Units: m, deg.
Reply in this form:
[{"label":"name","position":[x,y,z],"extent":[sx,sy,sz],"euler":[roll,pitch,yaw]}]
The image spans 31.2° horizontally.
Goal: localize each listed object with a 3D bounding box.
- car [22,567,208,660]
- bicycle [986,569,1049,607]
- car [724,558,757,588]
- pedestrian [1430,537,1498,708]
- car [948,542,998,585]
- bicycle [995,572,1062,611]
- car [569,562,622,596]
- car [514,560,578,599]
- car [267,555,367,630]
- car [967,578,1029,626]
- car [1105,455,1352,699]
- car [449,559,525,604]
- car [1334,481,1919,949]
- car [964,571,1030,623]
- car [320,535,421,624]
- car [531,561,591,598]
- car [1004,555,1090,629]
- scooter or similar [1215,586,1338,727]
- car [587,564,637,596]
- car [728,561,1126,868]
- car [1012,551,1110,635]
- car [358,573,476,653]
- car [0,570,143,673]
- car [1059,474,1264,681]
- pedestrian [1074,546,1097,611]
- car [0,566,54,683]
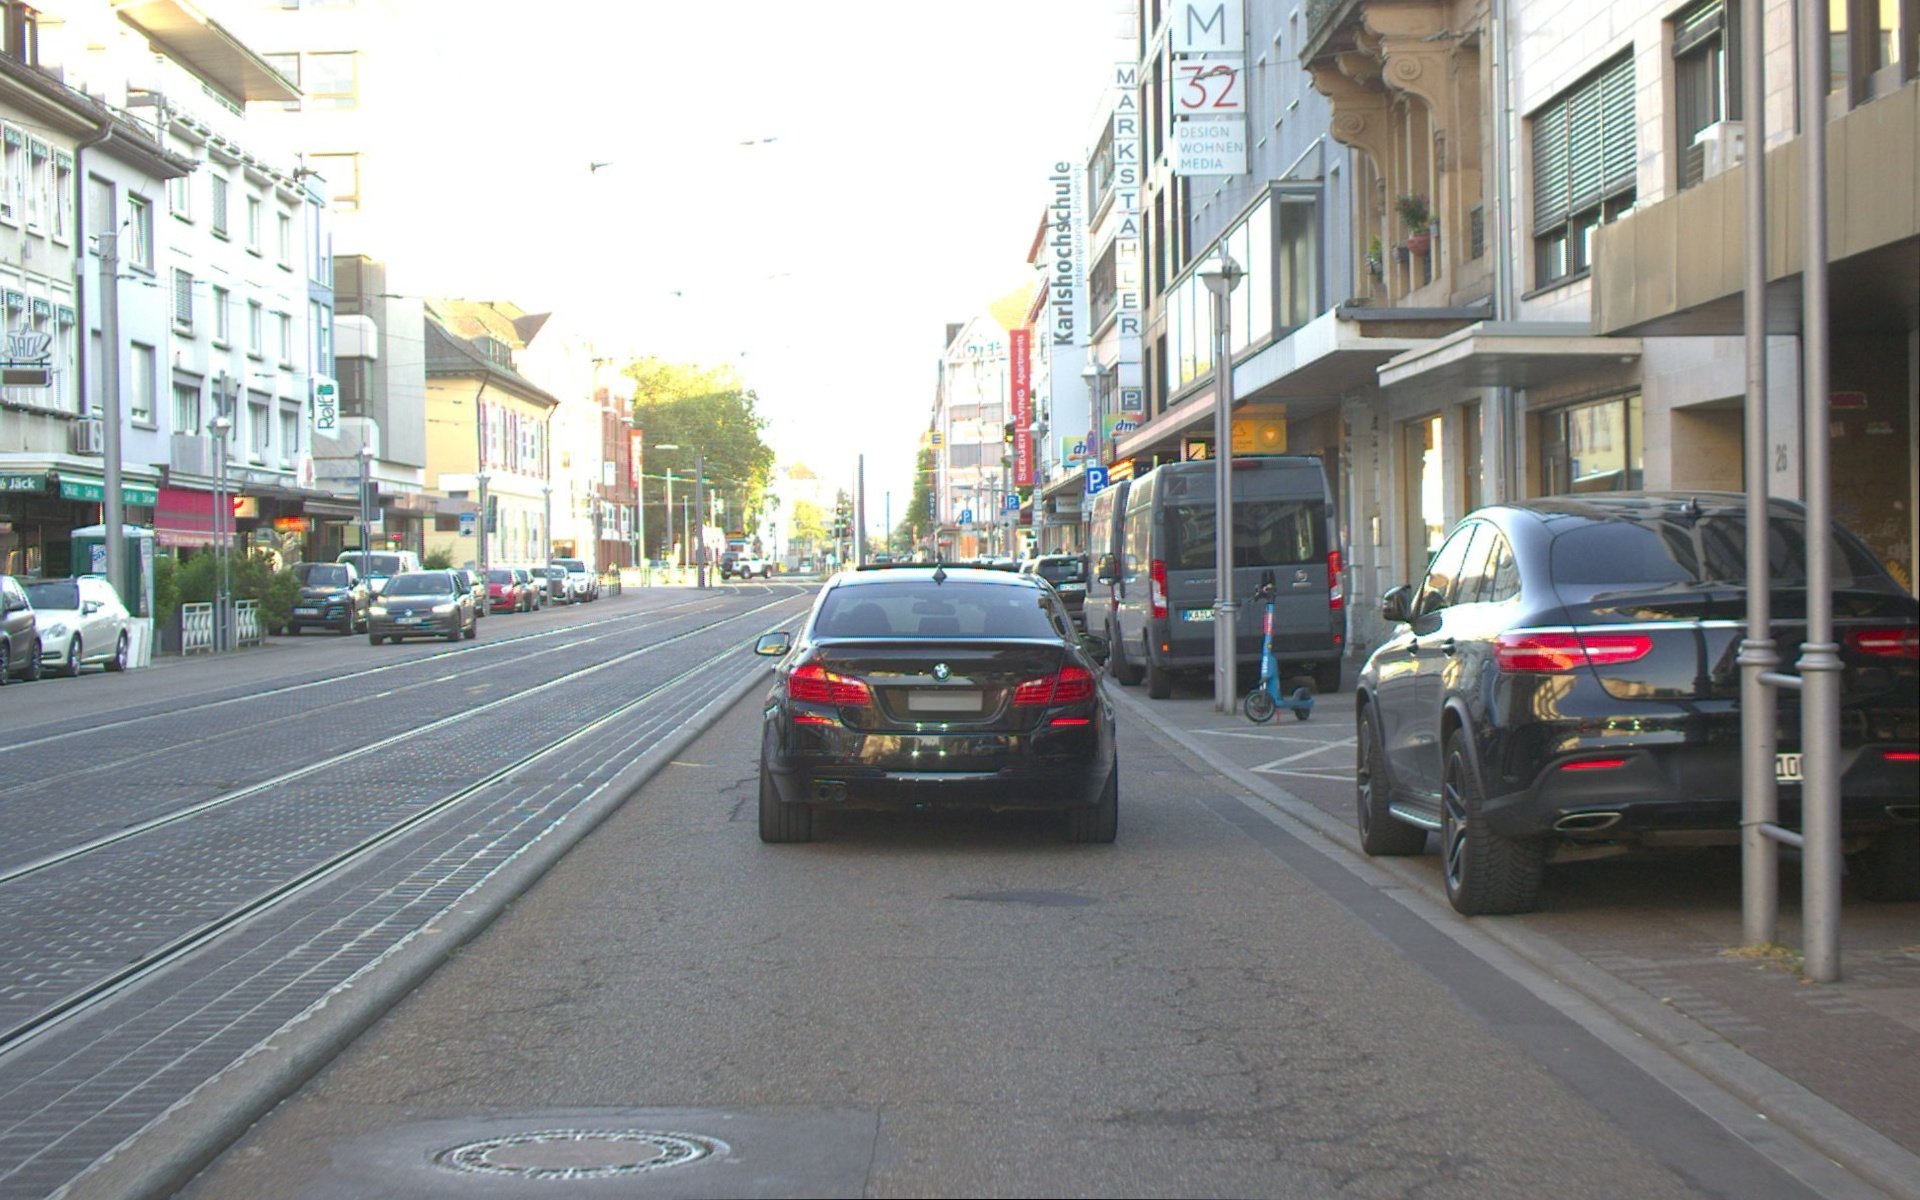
[{"label":"car","position":[-13.932,0.196,56.916],"extent":[1.993,1.448,4.330],"euler":[-1,1,0]},{"label":"bicycle","position":[1.709,-0.344,102.076],"extent":[1.861,1.115,0.468],"euler":[0,-1,0]},{"label":"car","position":[-14.711,-1.803,230.553],"extent":[1.993,1.832,4.000],"euler":[0,-2,-1]},{"label":"pedestrian","position":[4.878,0.212,33.306],"extent":[0.550,1.639,0.533],"euler":[1,0,-1]},{"label":"car","position":[0.475,-1.331,126.818],"extent":[1.774,1.543,3.503],"euler":[0,0,-1]},{"label":"bicycle","position":[1.924,-0.249,96.328],"extent":[1.861,1.076,0.468],"euler":[0,-1,0]},{"label":"car","position":[-15.963,-0.923,150.847],"extent":[1.928,1.430,4.246],"euler":[0,1,-1]},{"label":"car","position":[-15.589,-0.791,129.517],"extent":[1.928,1.430,4.246],"euler":[-1,1,-1]},{"label":"car","position":[-14.647,-0.183,78.472],"extent":[1.865,1.679,4.001],"euler":[0,0,-5]},{"label":"car","position":[1.223,0.088,112.455],"extent":[1.903,1.543,3.780],"euler":[0,0,-1]},{"label":"car","position":[2.893,-0.280,38.431],"extent":[2.092,2.447,6.033],"euler":[-2,1,-1]},{"label":"car","position":[-15.242,-0.606,110.902],"extent":[1.928,1.430,4.246],"euler":[0,1,-1]},{"label":"car","position":[2.947,0.403,15.215],"extent":[1.993,1.721,4.565],"euler":[-1,1,-1]},{"label":"car","position":[1.115,-0.095,105.636],"extent":[1.903,1.543,4.000],"euler":[0,0,-1]},{"label":"car","position":[-14.778,-0.518,86.384],"extent":[1.993,2.149,4.911],"euler":[-1,1,-4]},{"label":"car","position":[-15.725,-0.826,135.611],"extent":[1.928,1.430,4.246],"euler":[0,1,-1]},{"label":"car","position":[1.802,-0.194,72.237],"extent":[1.559,1.437,3.709],"euler":[-3,1,-1]},{"label":"scooter or similar","position":[2.835,0.491,30.761],"extent":[0.499,1.216,1.262],"euler":[0,1,36]},{"label":"car","position":[-16.058,-0.950,158.659],"extent":[1.928,1.430,4.246],"euler":[0,1,-1]},{"label":"car","position":[-0.147,0.540,19.264],"extent":[1.953,1.493,4.465],"euler":[-1,1,0]},{"label":"car","position":[1.946,-0.157,67.196],"extent":[1.654,1.532,3.886],"euler":[-2,1,-1]},{"label":"car","position":[-10.961,0.239,69.641],"extent":[1.691,1.448,4.466],"euler":[1,2,-1]},{"label":"car","position":[-13.933,0.297,51.956],"extent":[1.993,1.448,4.822],"euler":[-1,1,0]},{"label":"car","position":[2.546,-0.306,44.737],"extent":[2.033,2.447,5.410],"euler":[-2,1,-2]},{"label":"pedestrian","position":[3.467,-0.599,95.270],"extent":[0.554,1.785,0.760],"euler":[-1,1,-1]},{"label":"car","position":[-13.644,0.328,47.611],"extent":[1.476,1.572,2.795],"euler":[-1,1,-1]}]
